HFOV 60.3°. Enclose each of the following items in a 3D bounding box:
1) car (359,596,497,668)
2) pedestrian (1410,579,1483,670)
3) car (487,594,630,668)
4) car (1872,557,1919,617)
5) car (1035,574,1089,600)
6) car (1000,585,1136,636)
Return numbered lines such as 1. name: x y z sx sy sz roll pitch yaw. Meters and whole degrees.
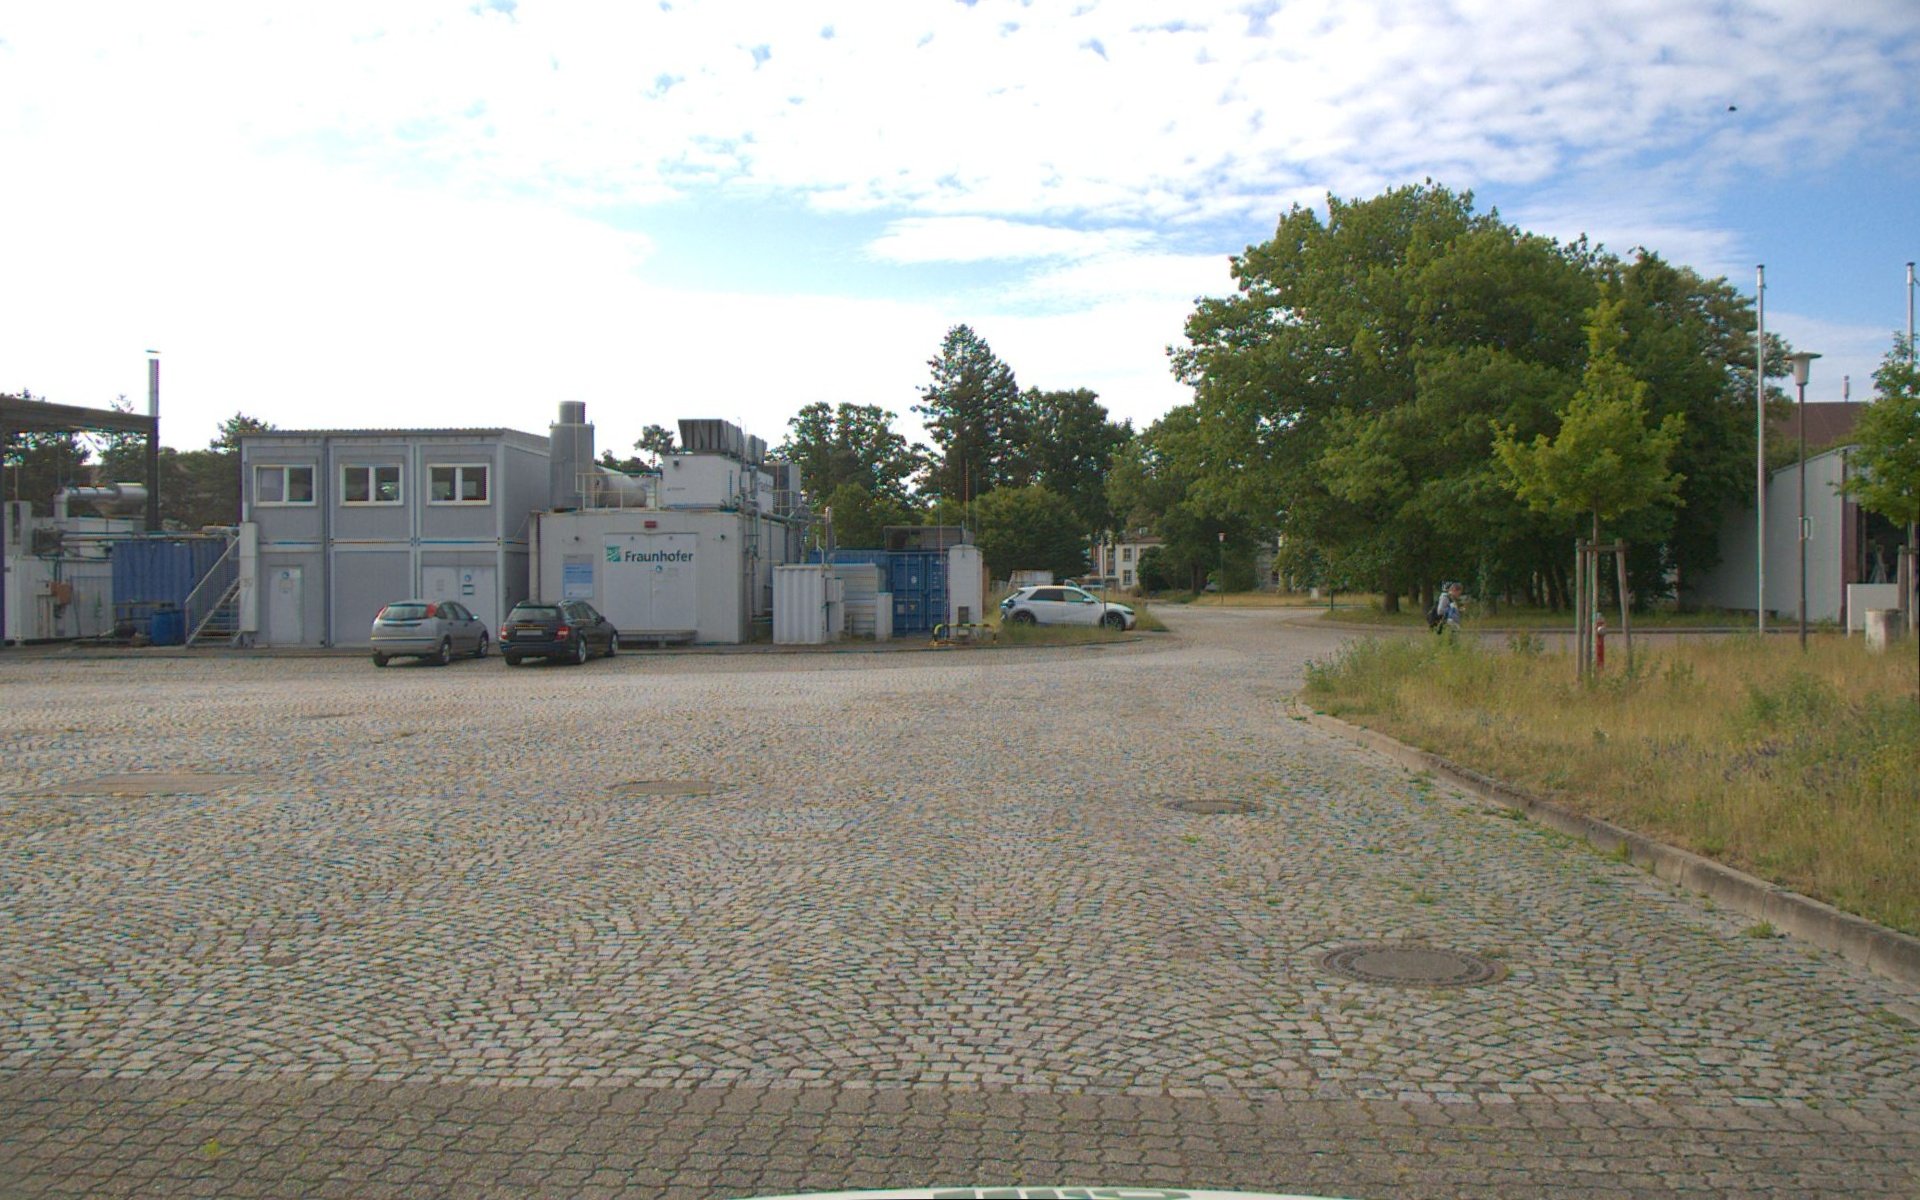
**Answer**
1. car: -12.545 0.722 39.273 1.867 1.501 4.048 -1 2 1
2. pedestrian: 8.711 0.425 29.583 1.054 1.583 1.074 -1 0 27
3. car: -9.348 0.681 38.888 1.993 1.478 4.532 -1 2 3
4. car: 33.591 -0.458 56.400 2.194 2.049 5.338 -1 0 2
5. car: 9.644 -1.258 156.779 5.062 2.378 2.001 -1 0 3
6. car: 3.650 0.337 55.320 4.438 1.627 2.001 -1 0 6
